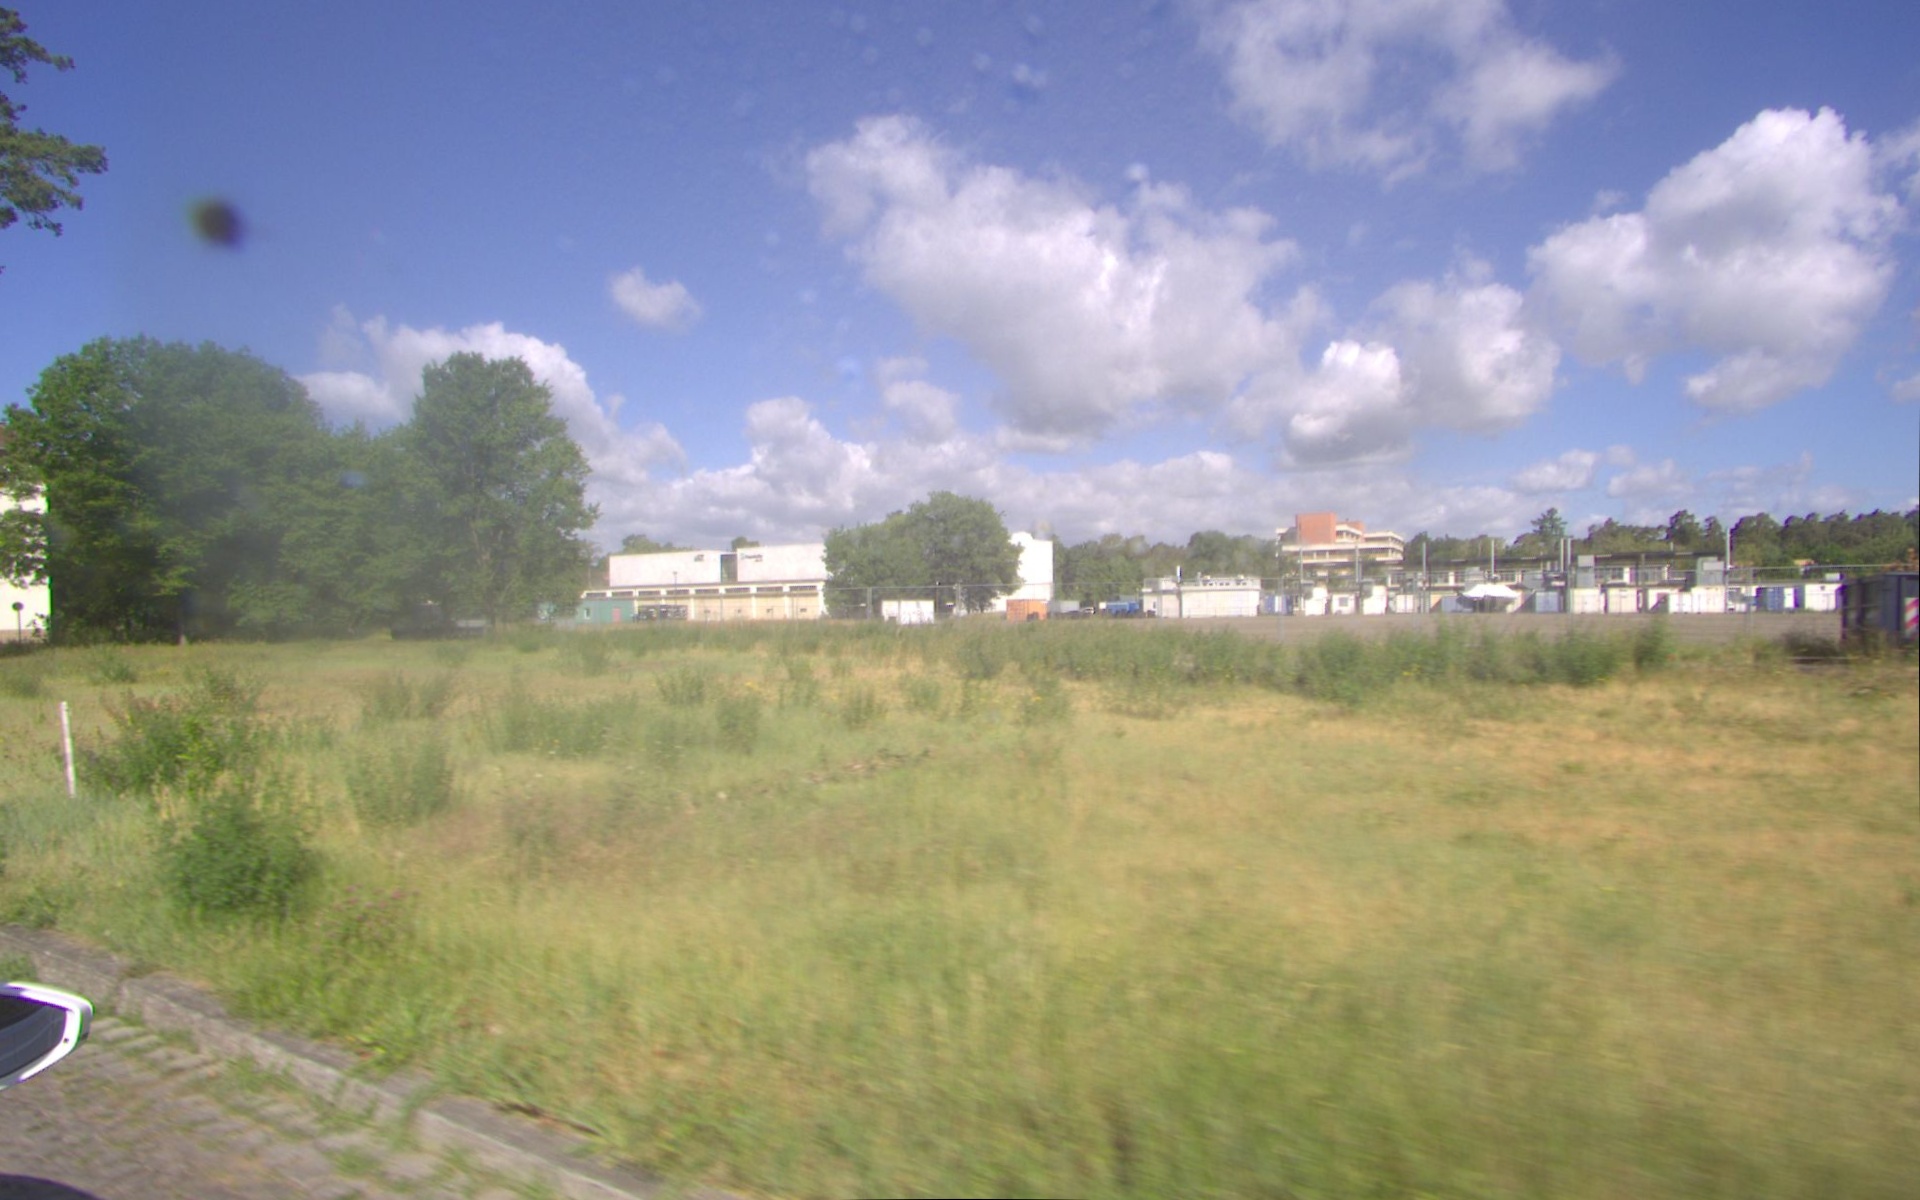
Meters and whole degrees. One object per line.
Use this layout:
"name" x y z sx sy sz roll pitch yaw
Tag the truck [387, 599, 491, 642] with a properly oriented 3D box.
"truck" -31.284 1.253 60.056 6.783 2.454 2.231 -1 -2 30
